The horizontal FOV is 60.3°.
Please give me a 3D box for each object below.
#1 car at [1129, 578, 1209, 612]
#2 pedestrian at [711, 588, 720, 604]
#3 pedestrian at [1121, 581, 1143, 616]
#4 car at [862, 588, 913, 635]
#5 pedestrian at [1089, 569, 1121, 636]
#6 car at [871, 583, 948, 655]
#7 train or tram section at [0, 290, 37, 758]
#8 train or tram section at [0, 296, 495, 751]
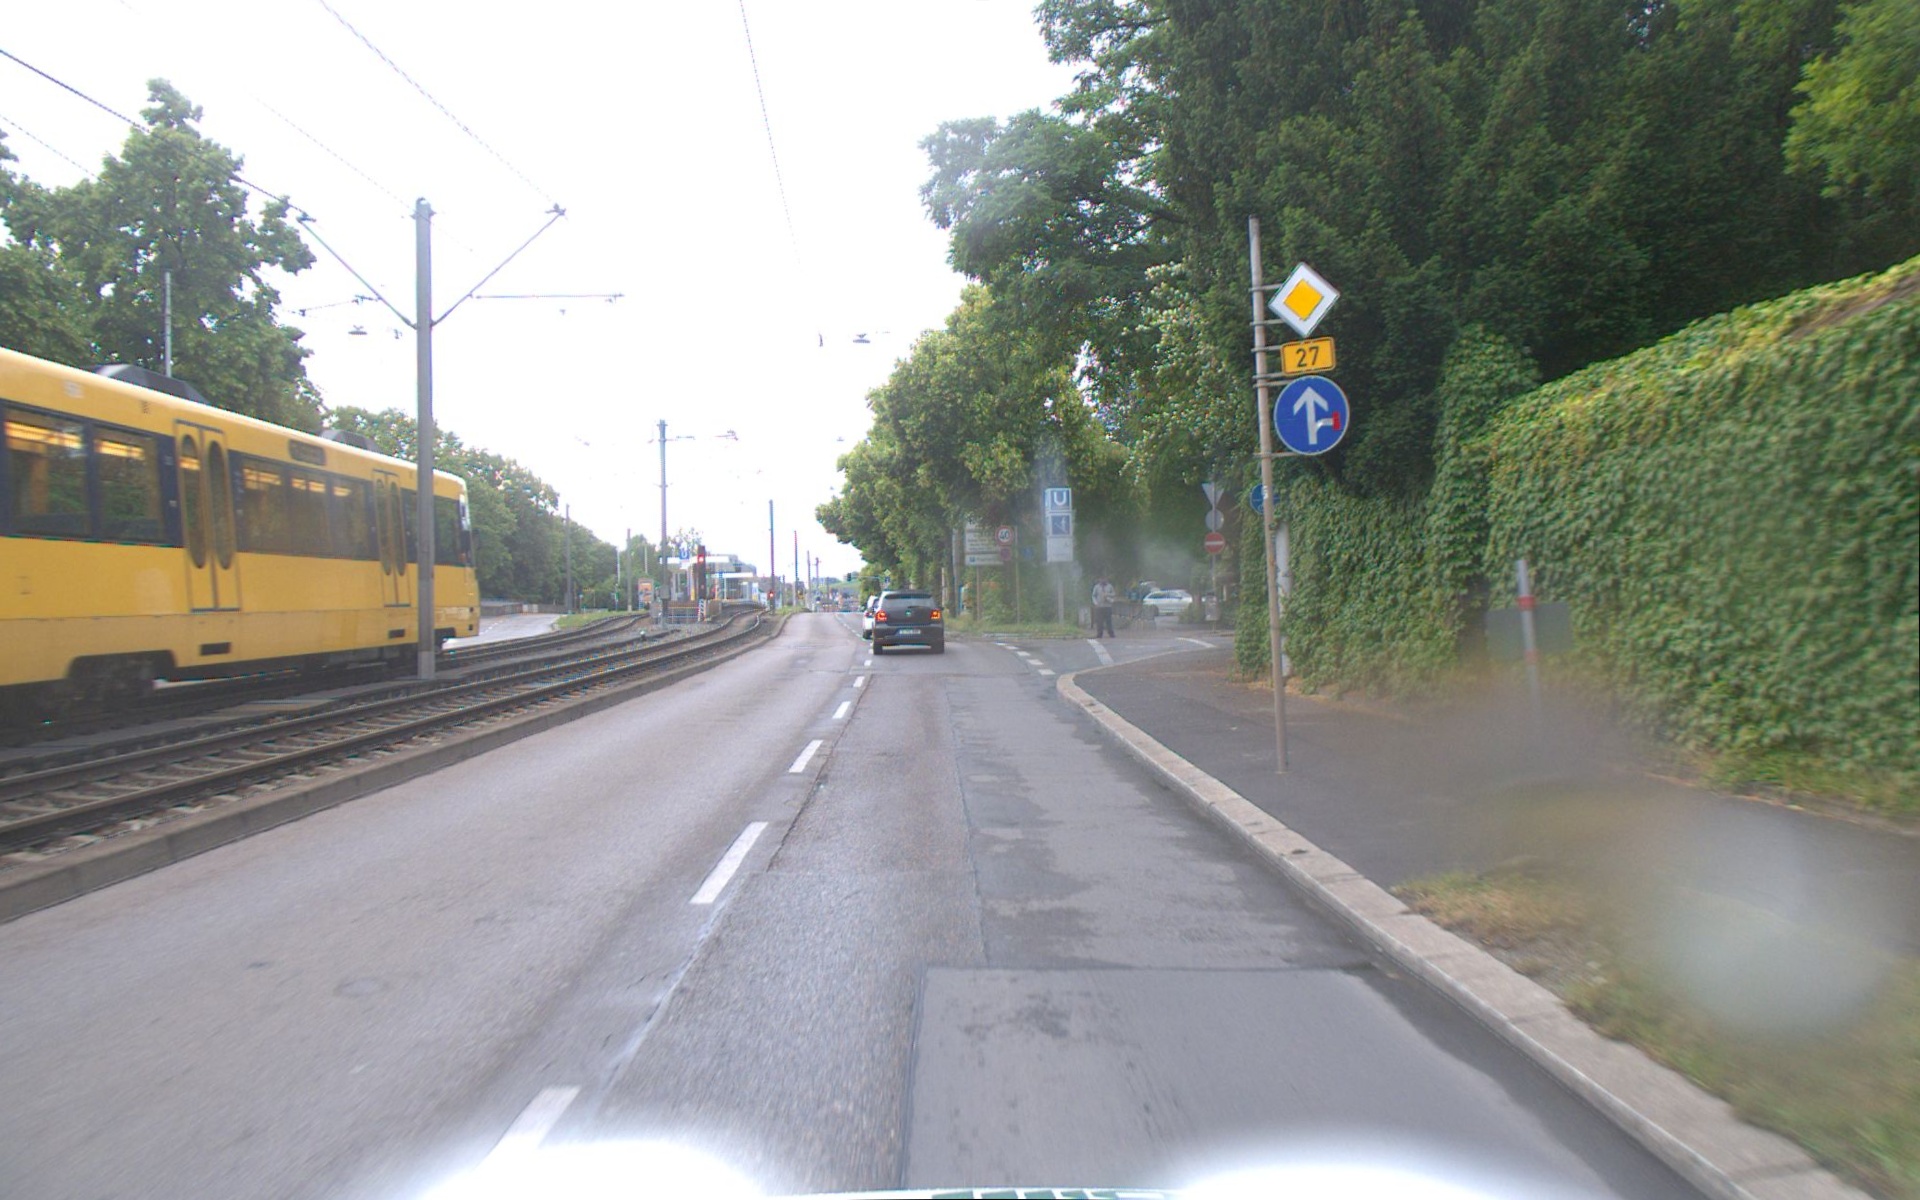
[{"bbox_3d":[12.278,-0.287,97.403,1.932,1.866,4.394,1,1,-45],"label":"car"},{"bbox_3d":[-19.738,-0.300,133.410,0.696,1.247,0.619,-1,0,-4],"label":"pedestrian"},{"bbox_3d":[10.153,-0.085,97.757,0.949,2.049,0.942,0,0,-28],"label":"pedestrian"},{"bbox_3d":[-2.617,0.385,58.871,1.654,1.544,3.996,-1,1,-5],"label":"car"},{"bbox_3d":[4.196,0.067,47.795,0.837,1.886,0.737,-1,0,-1],"label":"pedestrian"},{"bbox_3d":[-1.218,0.400,38.871,1.692,1.567,3.998,-1,1,-3],"label":"car"},{"bbox_3d":[-9.464,-0.523,4.733,2.771,4.045,20.024,-1,1,-1],"label":"train or tram section"},{"bbox_3d":[-10.118,-0.750,23.565,2.772,4.045,17.866,-1,1,-3],"label":"train or tram section"}]
